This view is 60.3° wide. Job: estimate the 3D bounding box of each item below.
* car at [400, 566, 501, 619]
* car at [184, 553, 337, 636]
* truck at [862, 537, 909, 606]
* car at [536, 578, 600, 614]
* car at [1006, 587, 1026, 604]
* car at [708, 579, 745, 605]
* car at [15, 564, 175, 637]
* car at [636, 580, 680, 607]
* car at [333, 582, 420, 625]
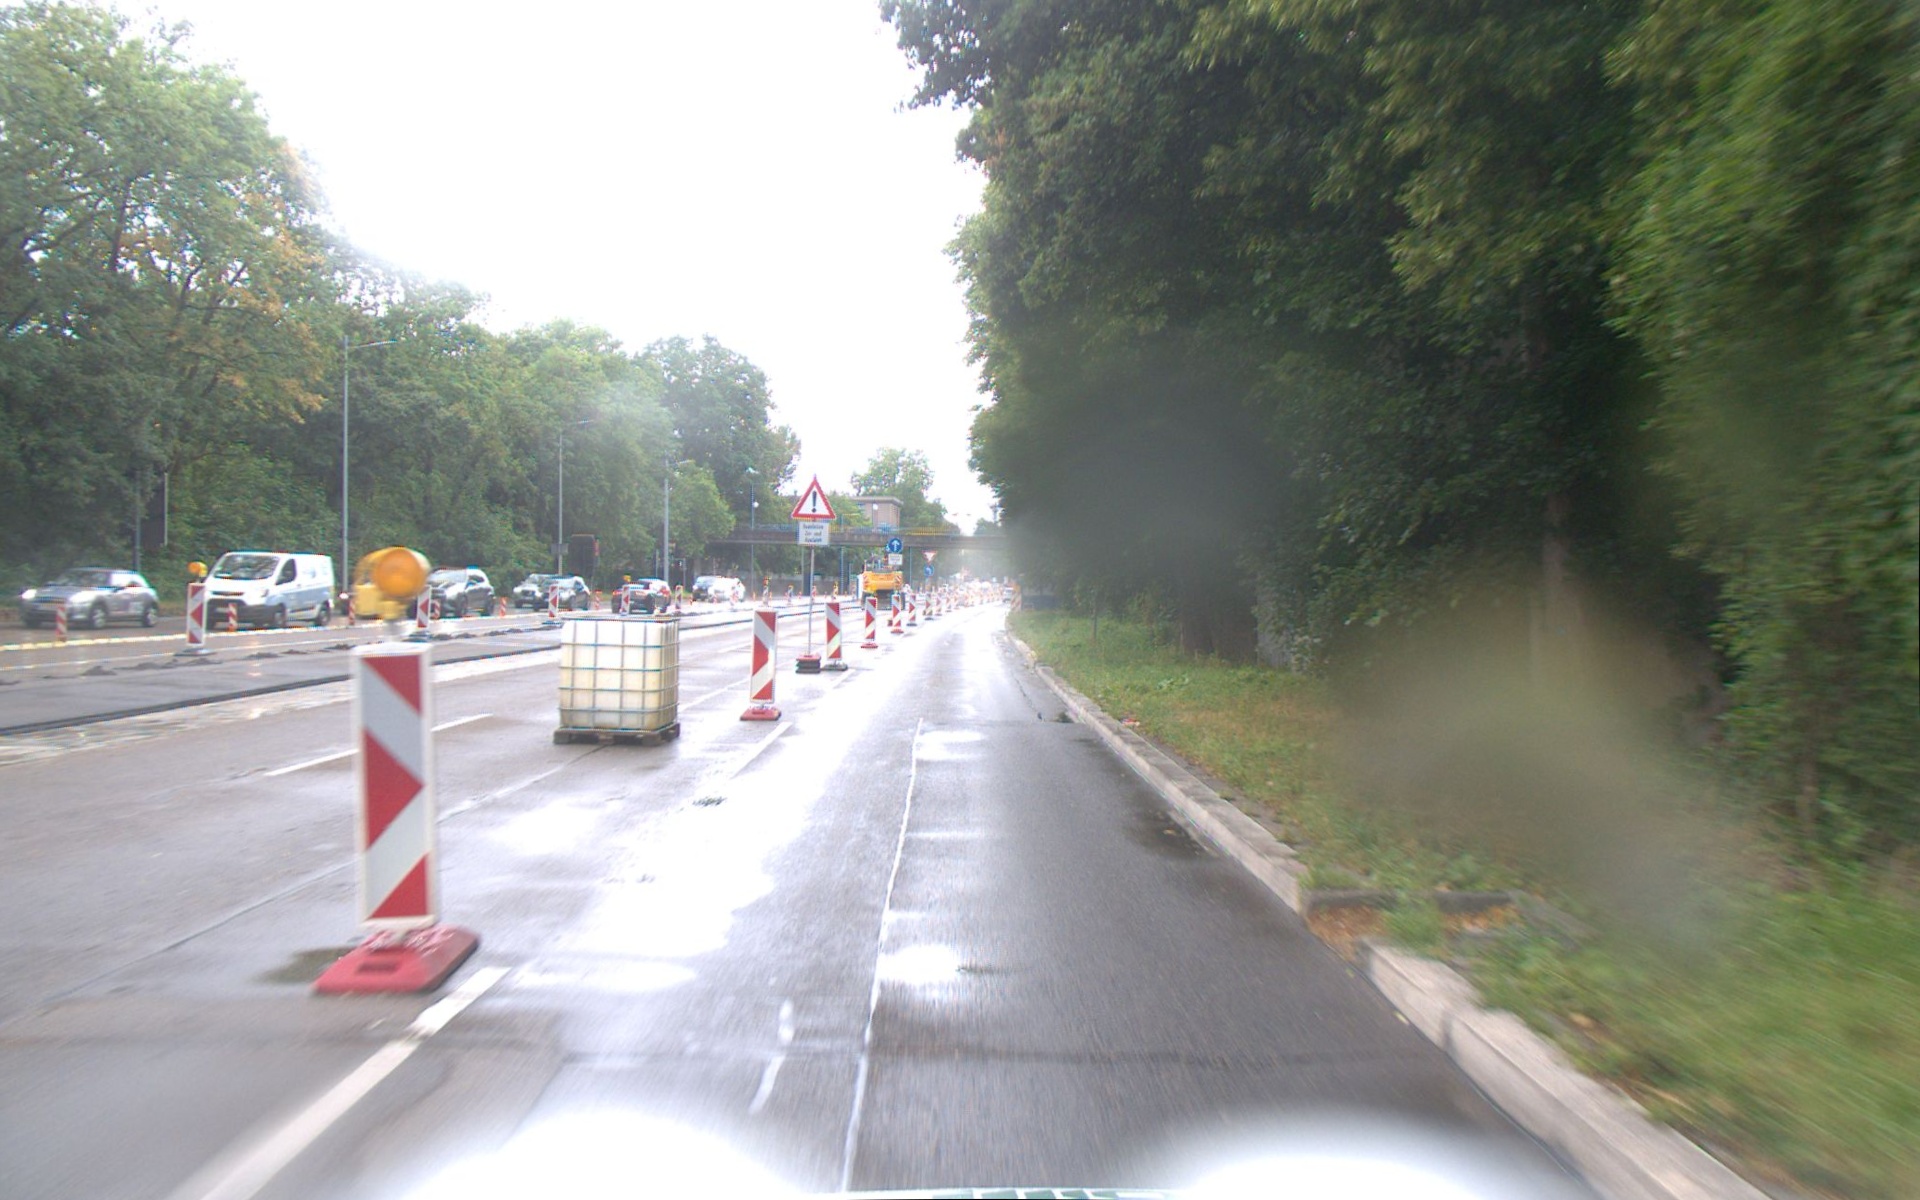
[{"bbox_3d":[-18.031,-0.274,58.764,1.980,1.755,5.013,1,1,0],"label":"car"},{"bbox_3d":[-18.093,-0.160,43.047,1.953,2.006,4.902,1,1,-1],"label":"car"},{"bbox_3d":[-4.905,-1.858,110.717,2.839,4.333,10.753,1,1,-1],"label":"truck"},{"bbox_3d":[-17.440,-0.193,73.743,1.740,1.513,4.197,1,1,1],"label":"car"},{"bbox_3d":[5.745,-0.463,169.904,1.952,1.668,4.002,0,0,3],"label":"car"},{"bbox_3d":[-16.095,-0.558,114.278,1.851,1.690,4.893,1,0,0],"label":"car"},{"bbox_3d":[-20.983,-0.004,40.315,1.790,1.650,3.999,1,0,-1],"label":"car"},{"bbox_3d":[-16.860,-0.373,92.477,1.644,1.425,4.013,1,0,0],"label":"car"},{"bbox_3d":[-20.839,0.107,59.180,1.611,1.445,4.000,1,0,1],"label":"car"}]
